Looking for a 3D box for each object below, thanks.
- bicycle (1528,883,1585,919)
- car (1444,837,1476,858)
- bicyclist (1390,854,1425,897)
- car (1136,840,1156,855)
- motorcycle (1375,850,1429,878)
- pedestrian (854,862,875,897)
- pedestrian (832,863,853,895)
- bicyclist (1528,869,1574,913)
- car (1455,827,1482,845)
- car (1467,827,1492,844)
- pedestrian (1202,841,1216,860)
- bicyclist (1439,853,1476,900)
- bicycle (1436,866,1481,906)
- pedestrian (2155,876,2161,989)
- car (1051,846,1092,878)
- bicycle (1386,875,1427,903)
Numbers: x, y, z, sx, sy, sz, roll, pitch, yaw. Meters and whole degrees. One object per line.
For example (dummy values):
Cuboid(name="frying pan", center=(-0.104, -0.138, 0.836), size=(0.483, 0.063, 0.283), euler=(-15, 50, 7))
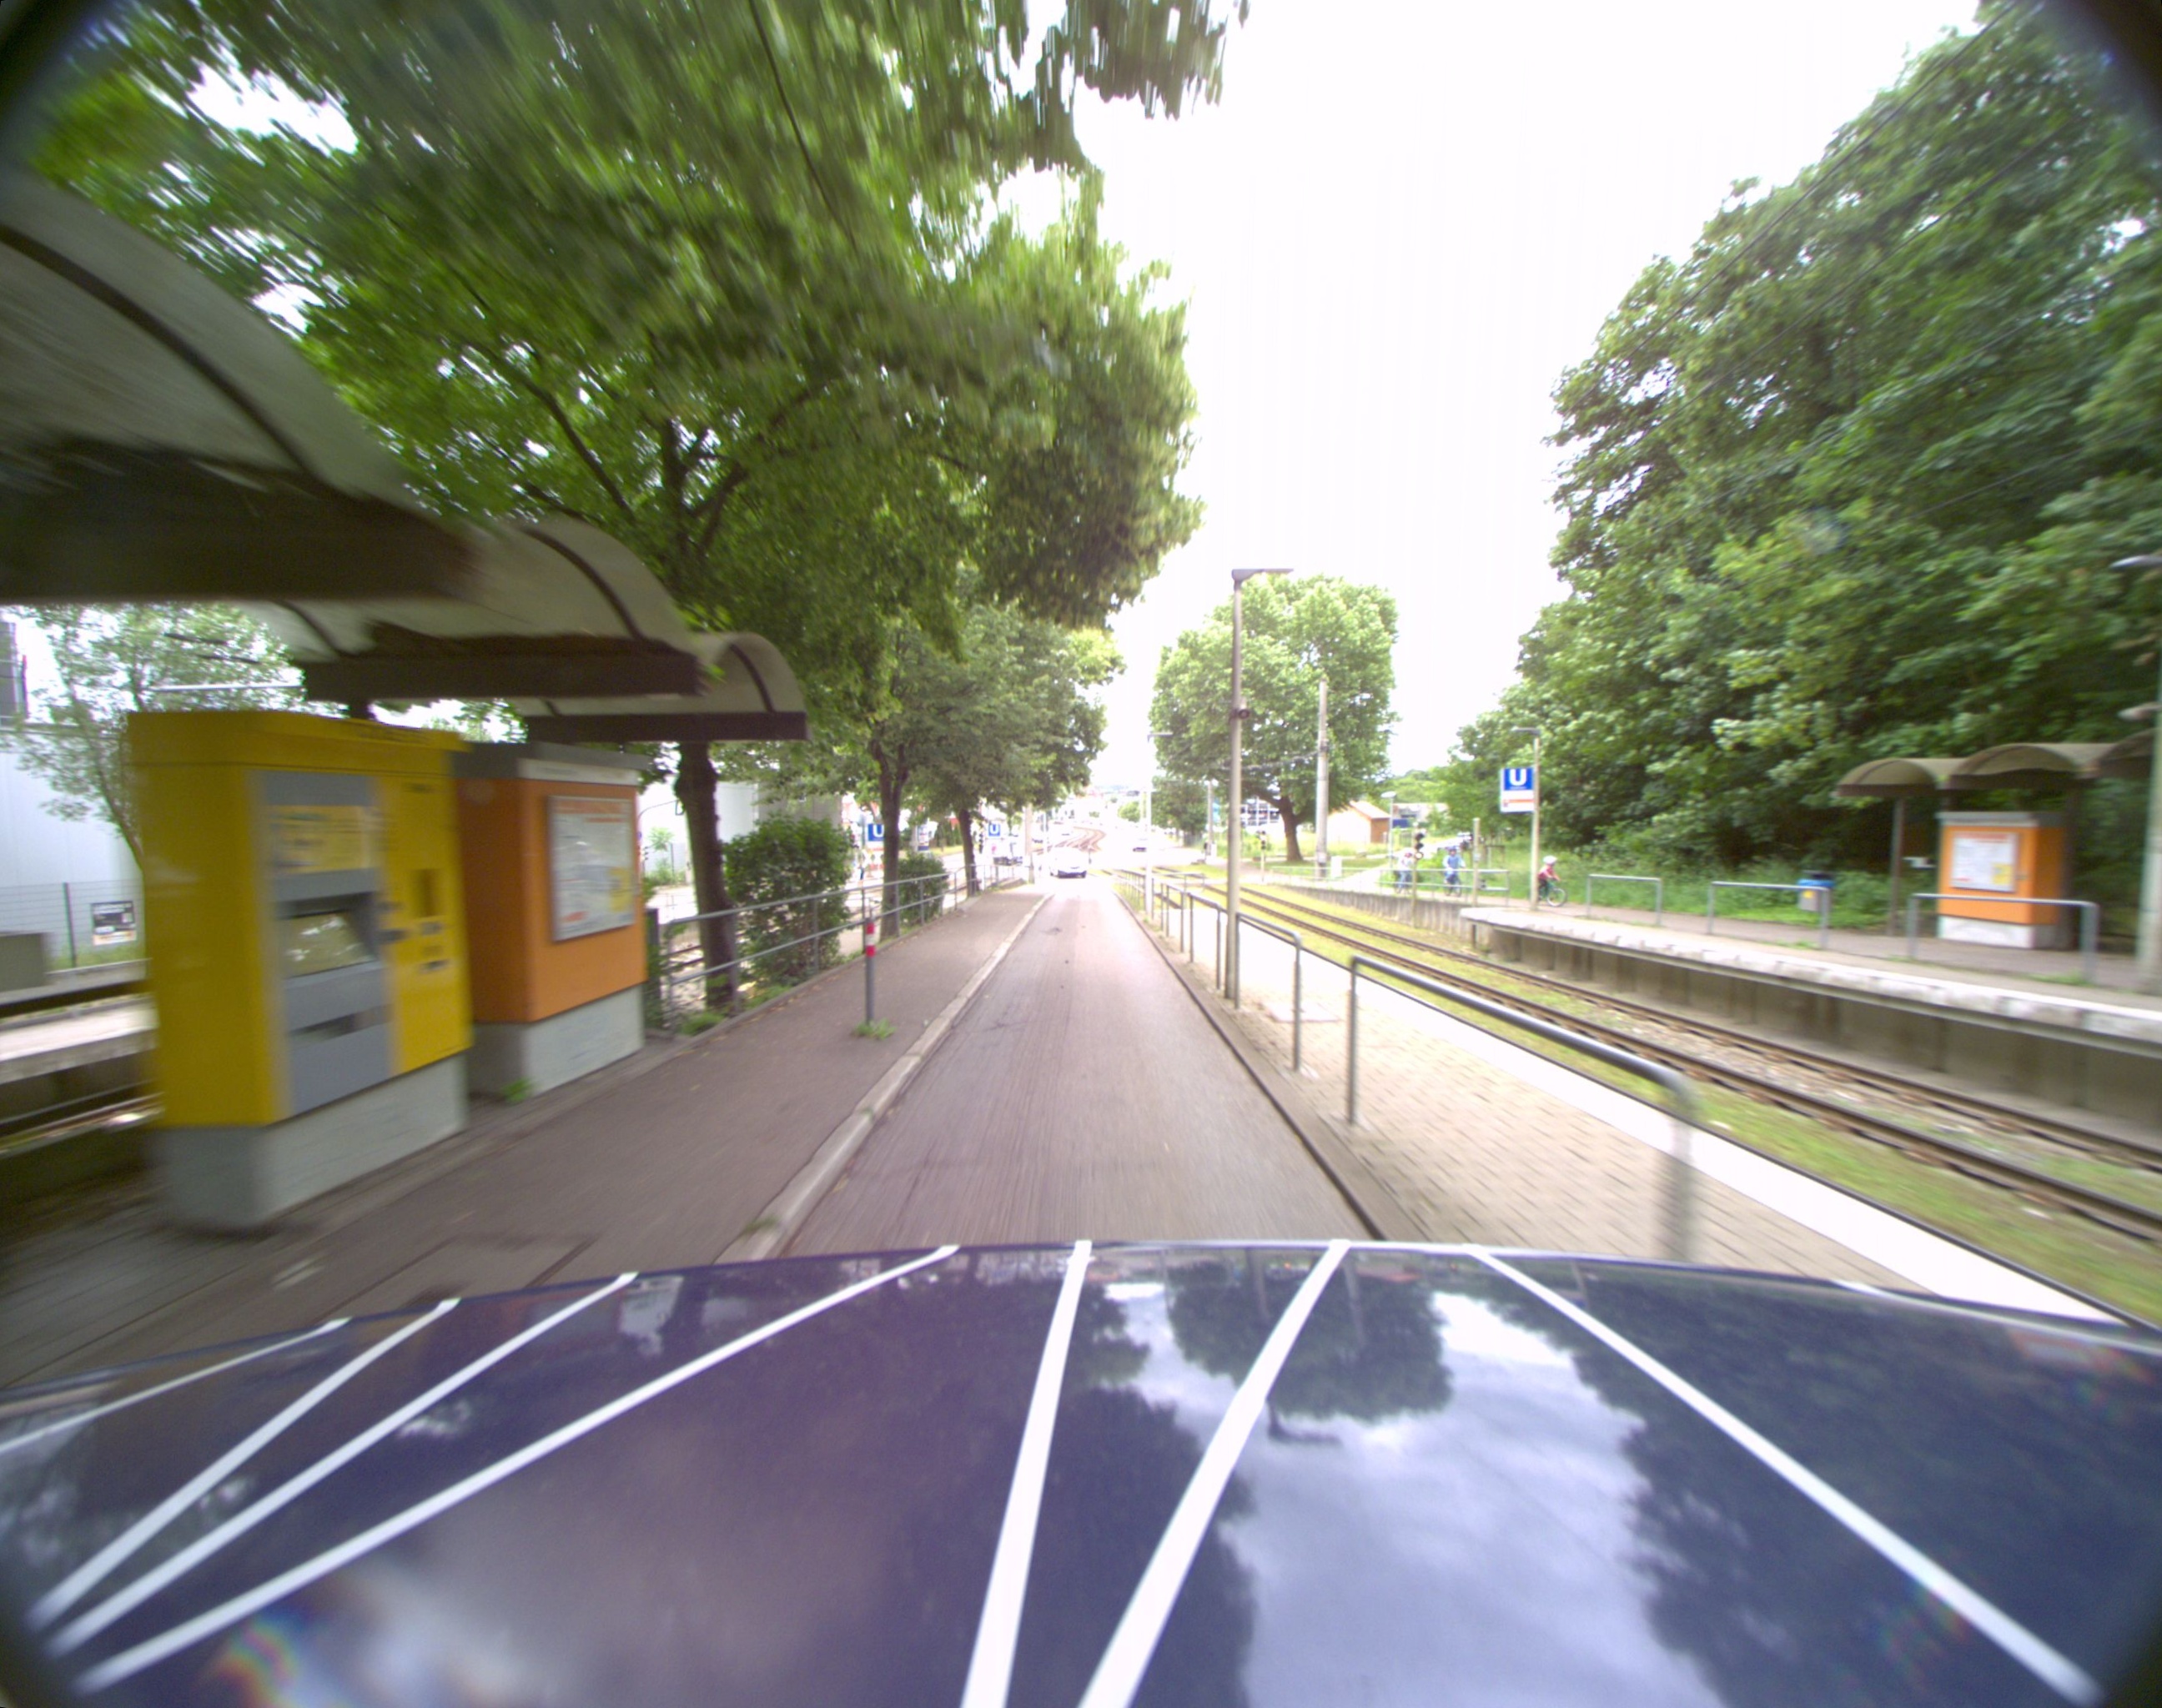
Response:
Cuboid(name="bicycle", center=(11.720, 1.142, 18.766), size=(0.451, 0.776, 1.565), euler=(-1, 0, 1))
Cuboid(name="car", center=(31.949, -0.586, 63.968), size=(1.994, 1.674, 4.007), euler=(0, 2, 32))
Cuboid(name="bicyclist", center=(11.240, 0.736, 26.175), size=(0.747, 1.423, 0.907), euler=(-1, 0, -2))
Cuboid(name="car", center=(7.311, -0.743, 85.572), size=(1.997, 1.648, 4.001), euler=(-1, 2, 9))
Cuboid(name="motorcycle", center=(19.304, 0.587, 45.697), size=(3.063, 1.543, 1.257), euler=(-2, 2, -26))
Cuboid(name="pedestrian", center=(-11.364, 1.317, 39.837), size=(0.752, 1.794, 0.684), euler=(-1, 2, 12))
Cuboid(name="pedestrian", center=(-12.618, 1.317, 40.168), size=(0.752, 1.666, 0.684), euler=(-1, 2, 12))
Cuboid(name="bicyclist", center=(11.744, 0.909, 18.992), size=(0.691, 1.047, 0.744), euler=(-1, 0, 0))
Cuboid(name="car", center=(37.992, -1.799, 74.503), size=(1.994, 1.674, 4.007), euler=(0, 2, 32))
Cuboid(name="car", center=(41.106, -1.906, 78.395), size=(1.994, 1.674, 4.007), euler=(0, 2, 32))
Cuboid(name="pedestrian", center=(11.807, -0.291, 70.087), size=(1.115, 1.724, 0.695), euler=(0, 2, 23))
Cuboid(name="bicyclist", center=(11.939, 0.710, 24.112), size=(0.732, 1.434, 0.840), euler=(-1, 0, -1))
Cuboid(name="bicycle", center=(11.993, 0.992, 24.206), size=(0.464, 1.181, 1.940), euler=(-1, 0, 1))
Cuboid(name="pedestrian", center=(12.997, 0.911, 8.522), size=(0.823, 1.315, 0.774), euler=(-1, 2, -5))
Cuboid(name="car", center=(-0.696, 0.498, 50.055), size=(1.812, 1.910, 4.472), euler=(-2, 2, -12))
Cuboid(name="bicycle", center=(11.249, 1.192, 26.340), size=(0.479, 0.919, 1.844), euler=(-1, -1, -5))
